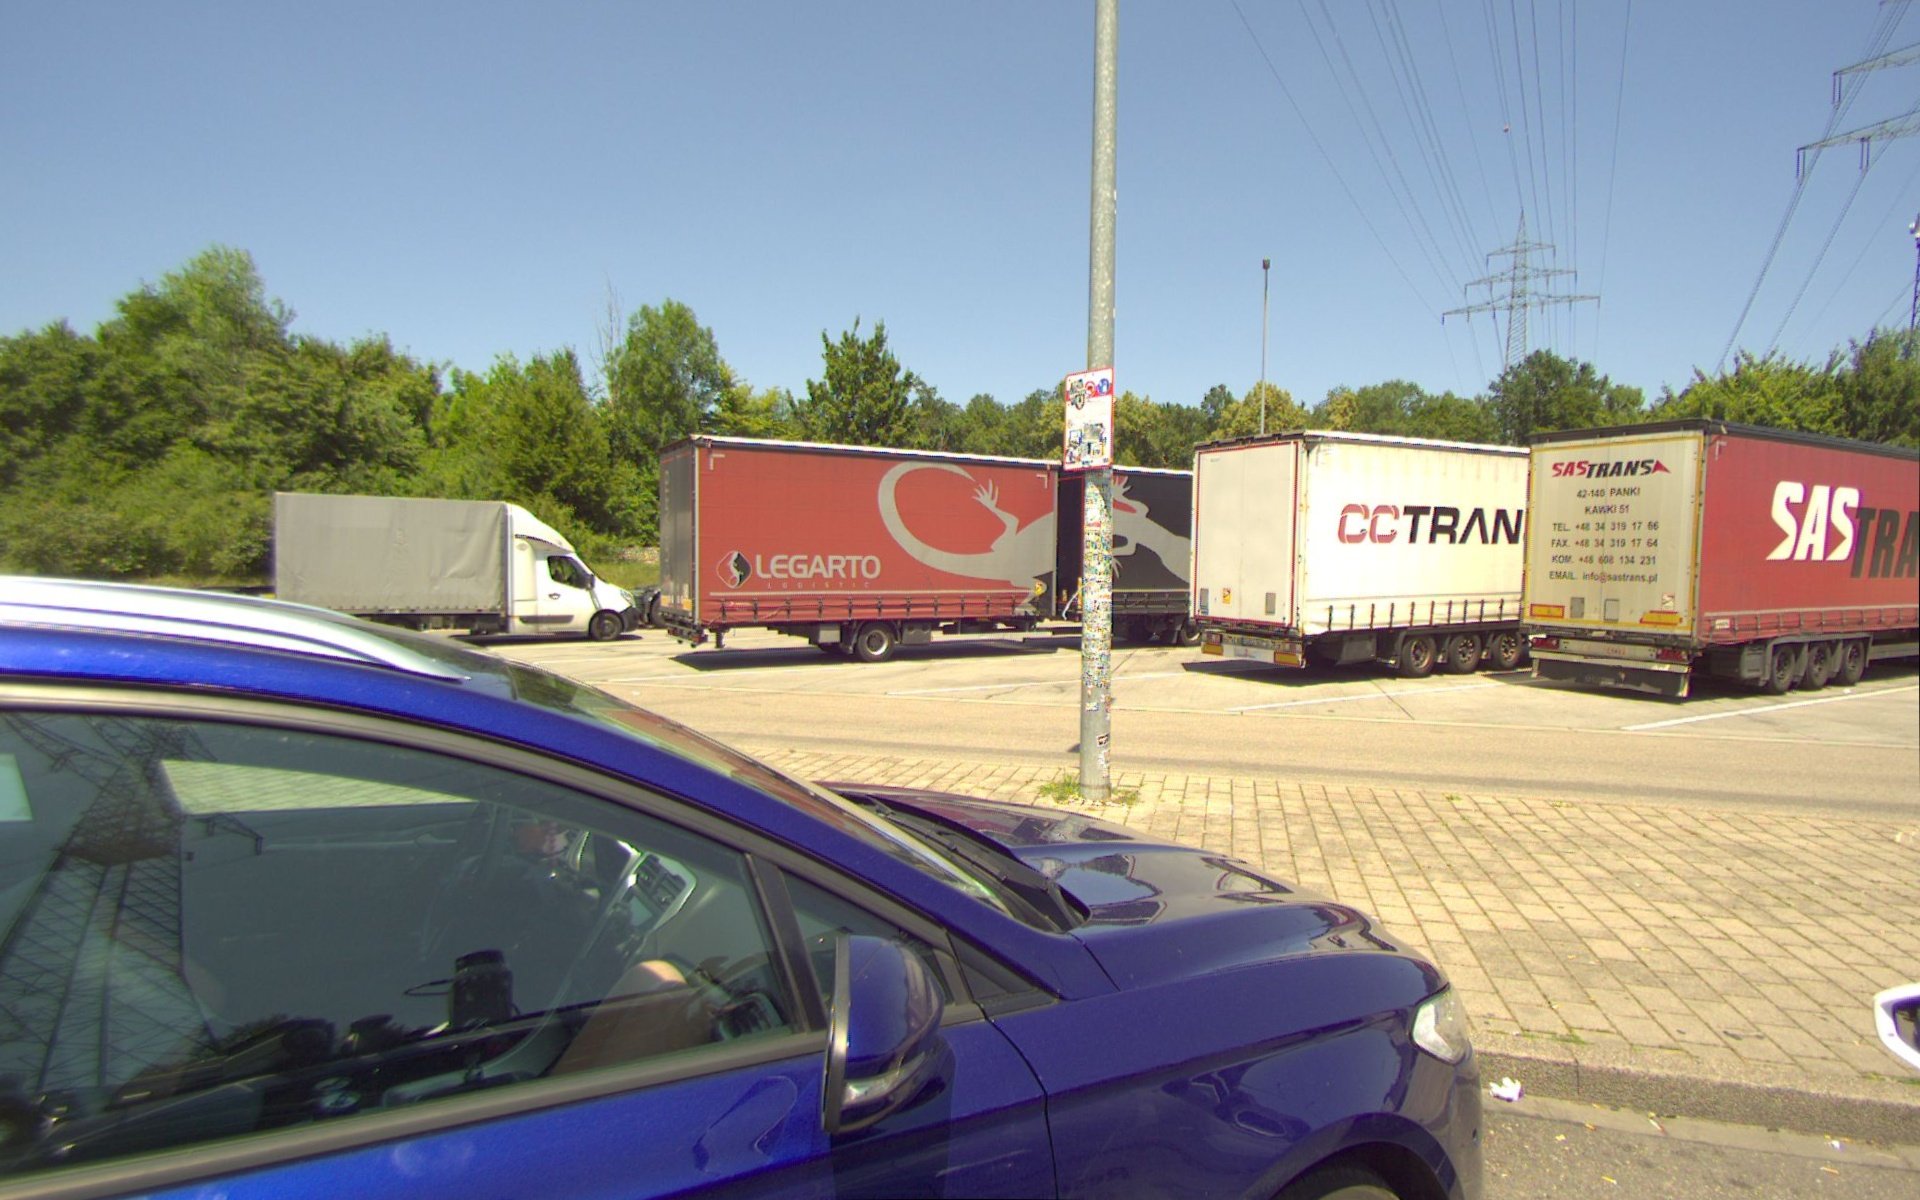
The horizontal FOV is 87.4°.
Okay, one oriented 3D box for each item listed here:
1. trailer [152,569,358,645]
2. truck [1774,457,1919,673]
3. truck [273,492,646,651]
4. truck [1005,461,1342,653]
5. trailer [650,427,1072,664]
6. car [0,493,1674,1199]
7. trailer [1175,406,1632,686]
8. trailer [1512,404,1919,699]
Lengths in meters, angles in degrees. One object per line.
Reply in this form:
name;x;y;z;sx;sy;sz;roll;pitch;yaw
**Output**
trailer;-16.519;0.152;23.769;3.856;1.684;1.464;0;1;-30
truck;20.805;-0.670;21.762;6.749;4.136;2.729;0;1;-31
truck;-11.142;-0.600;22.926;7.265;3.170;2.352;0;1;-30
truck;5.387;-0.905;24.574;8.534;4.073;2.624;0;1;-30
trailer;-1.805;-0.913;20.302;8.158;4.027;2.651;0;1;-30
car;-1.024;0.657;1.456;4.419;1.485;1.765;0;1;-32
trailer;8.697;-0.825;19.098;9.614;4.321;2.733;0;1;-29
trailer;15.358;-0.666;18.541;13.129;4.112;2.736;0;1;-31
